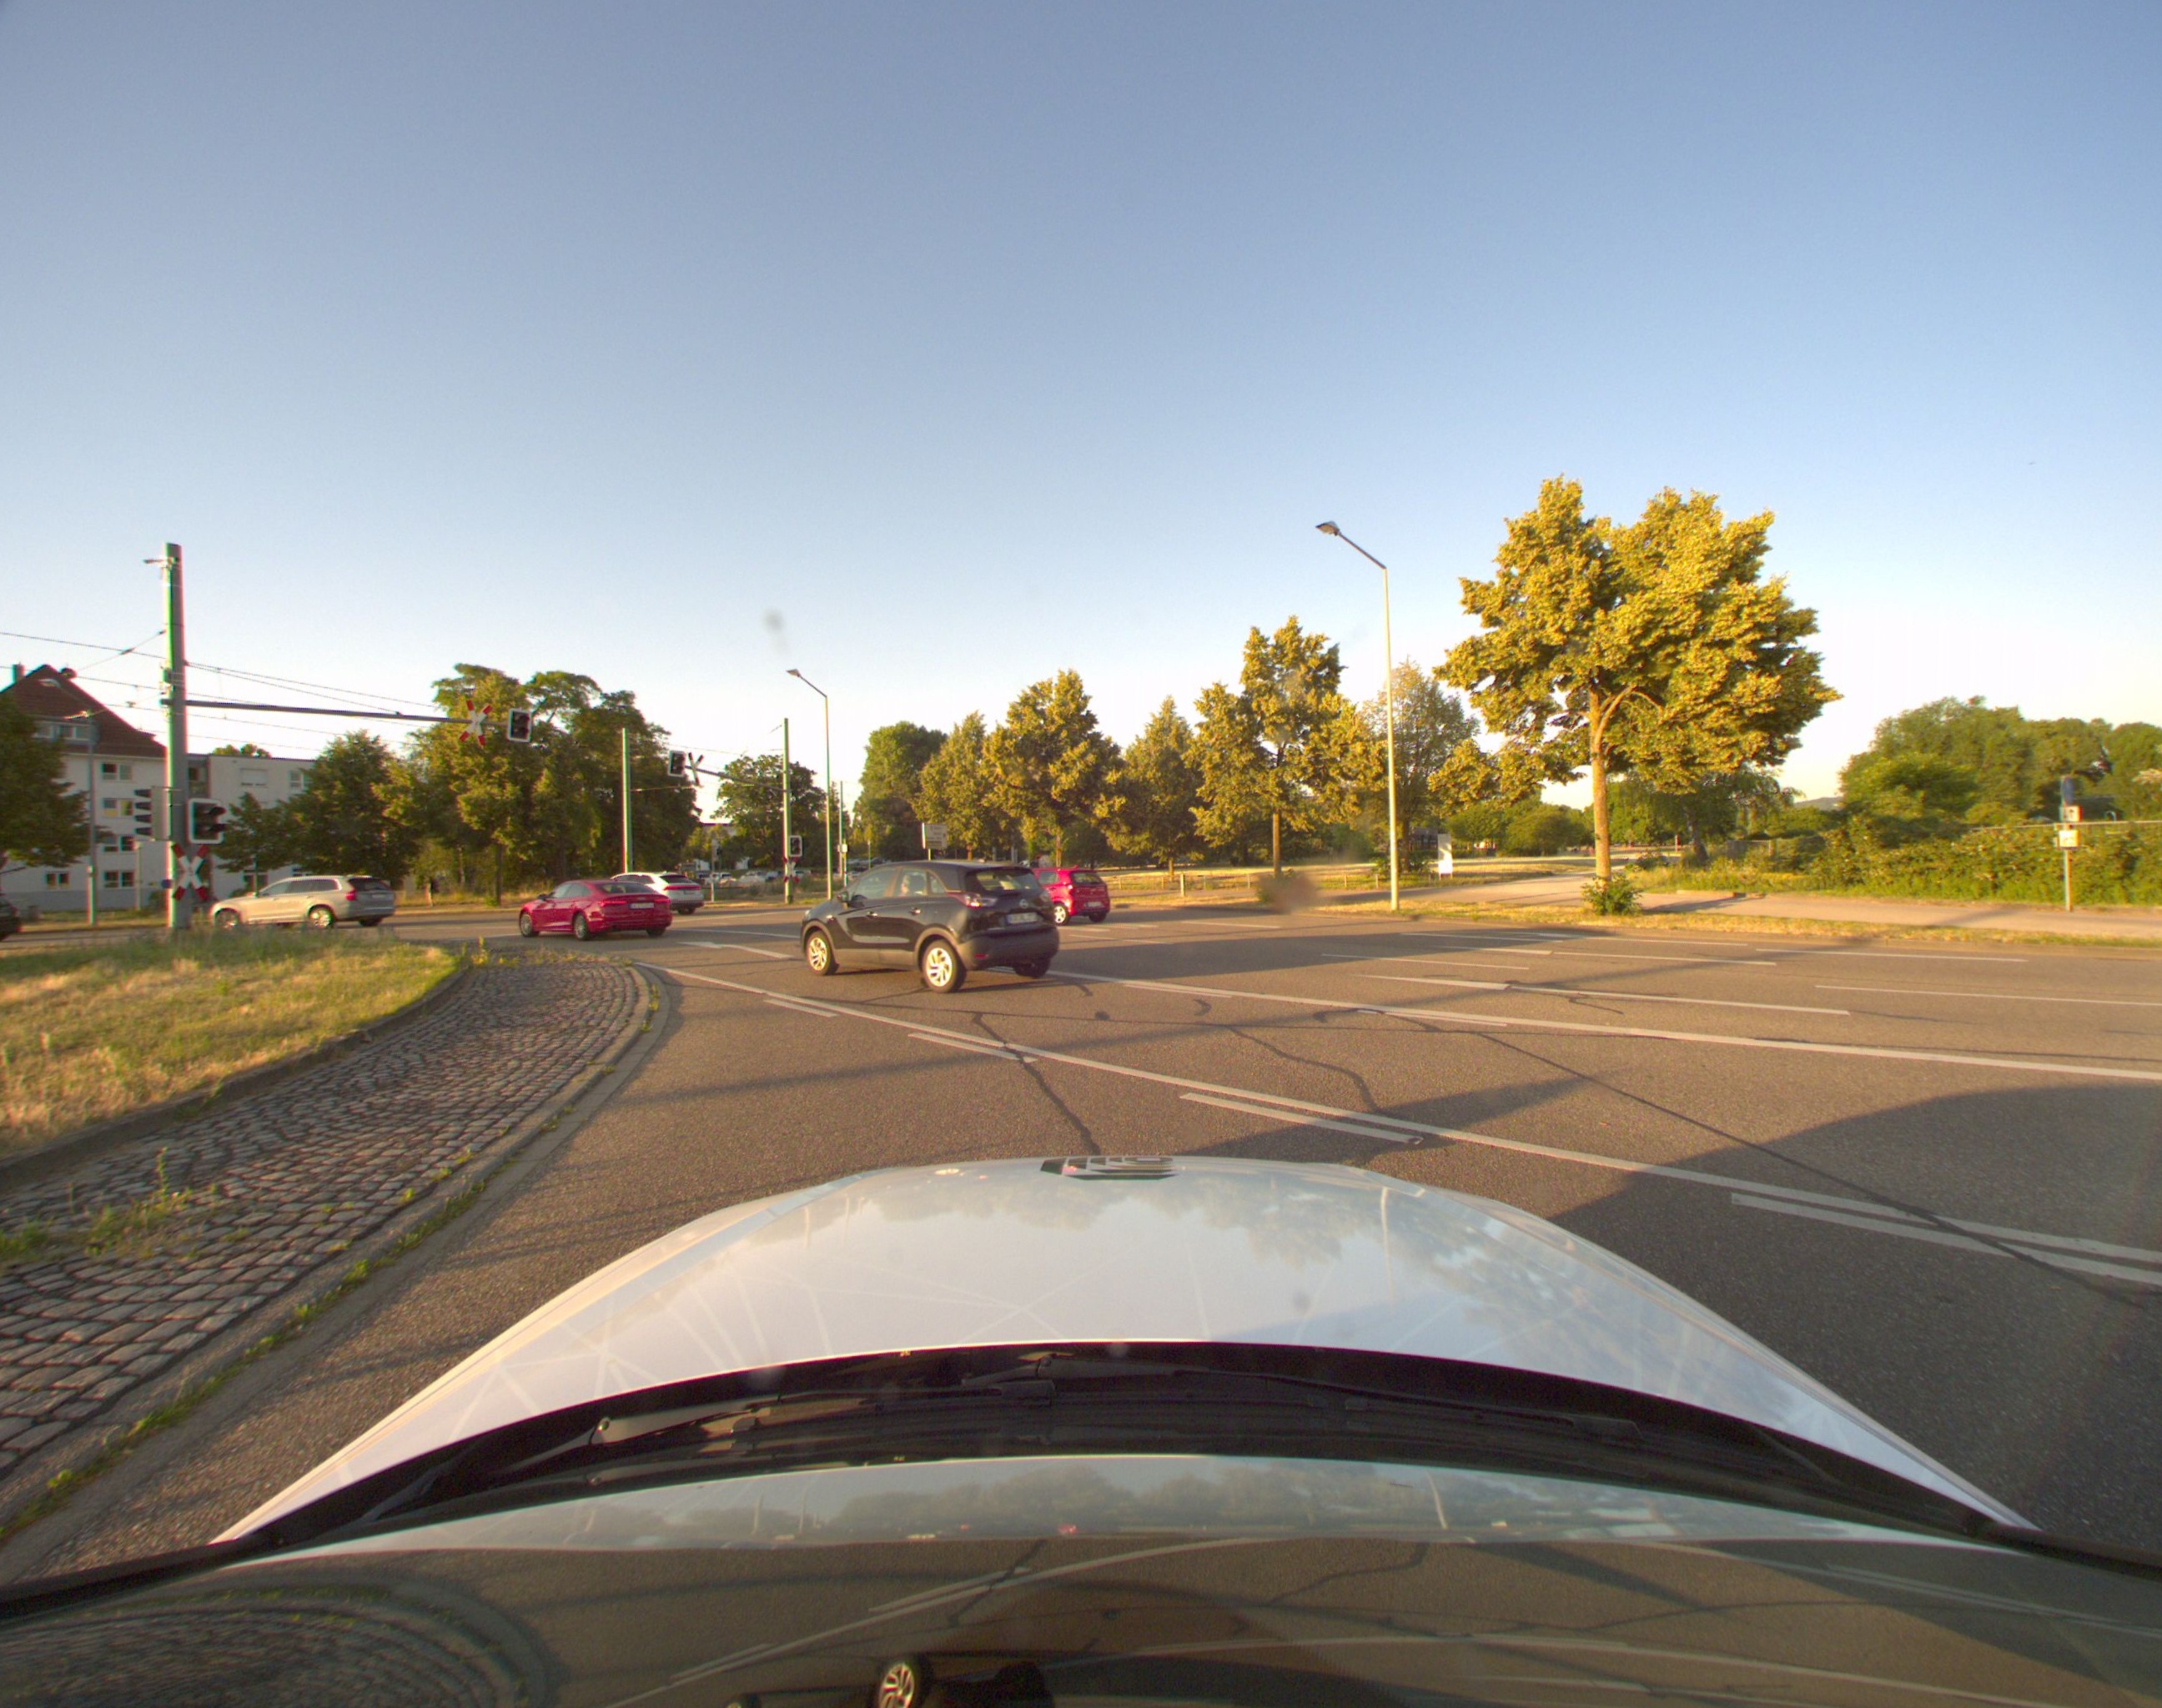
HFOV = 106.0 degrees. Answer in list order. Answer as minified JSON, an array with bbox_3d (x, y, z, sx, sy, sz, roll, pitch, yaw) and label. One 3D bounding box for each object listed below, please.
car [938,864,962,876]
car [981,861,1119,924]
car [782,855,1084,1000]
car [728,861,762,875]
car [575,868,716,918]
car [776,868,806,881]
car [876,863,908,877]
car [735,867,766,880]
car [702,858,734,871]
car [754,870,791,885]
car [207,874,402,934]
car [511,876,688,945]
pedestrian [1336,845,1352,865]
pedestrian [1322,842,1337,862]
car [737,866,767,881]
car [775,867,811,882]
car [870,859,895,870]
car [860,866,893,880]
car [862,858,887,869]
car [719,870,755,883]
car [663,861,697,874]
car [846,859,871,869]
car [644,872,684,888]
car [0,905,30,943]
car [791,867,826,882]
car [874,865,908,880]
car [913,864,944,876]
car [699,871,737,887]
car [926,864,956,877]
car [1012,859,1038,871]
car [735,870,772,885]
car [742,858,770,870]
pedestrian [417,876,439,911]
[{"bbox_3d":[-20.856,2.518,129.992,2.008,1.752,4.549,-1,1,-35],"label":"car"},{"bbox_3d":[-0.876,0.983,21.753,3.446,1.500,1.653,-2,0,42],"label":"car"},{"bbox_3d":[-2.110,0.860,11.072,3.948,1.584,1.907,-2,0,40],"label":"car"},{"bbox_3d":[-51.898,2.113,125.803,1.974,2.013,4.627,-2,0,32],"label":"car"},{"bbox_3d":[-16.351,1.468,30.610,4.661,1.706,2.010,-2,0,20],"label":"car"},{"bbox_3d":[-41.314,2.874,115.996,4.001,1.662,1.889,-2,0,-20],"label":"car"},{"bbox_3d":[-29.393,2.405,126.702,4.578,2.013,1.995,-2,0,-7],"label":"car"},{"bbox_3d":[-46.243,2.775,113.944,4.005,1.662,1.984,-2,0,-24],"label":"car"},{"bbox_3d":[-61.942,1.778,139.061,1.974,2.013,4.628,-2,0,36],"label":"car"},{"bbox_3d":[-35.519,2.701,93.673,3.948,1.604,2.013,-2,0,34],"label":"car"},{"bbox_3d":[-25.674,1.621,27.035,4.598,1.736,1.896,-2,0,0],"label":"car"},{"bbox_3d":[-11.458,1.264,19.288,4.439,1.392,1.908,-2,0,35],"label":"car"},{"bbox_3d":[22.062,0.087,68.377,1.064,1.617,0.911,-2,0,4],"label":"pedestrian"},{"bbox_3d":[20.894,-0.156,68.495,1.064,1.617,0.911,-2,0,4],"label":"pedestrian"},{"bbox_3d":[-47.431,2.757,117.439,4.006,2.013,1.984,-2,0,-24],"label":"car"},{"bbox_3d":[-33.711,2.441,95.432,3.948,1.604,2.013,-2,0,34],"label":"car"},{"bbox_3d":[-35.700,1.877,146.438,3.964,1.706,2.005,-2,0,8],"label":"car"},{"bbox_3d":[-26.684,2.475,105.990,3.948,1.604,2.013,-2,0,34],"label":"car"},{"bbox_3d":[-37.977,1.766,150.044,1.975,2.013,4.025,-2,0,42],"label":"car"},{"bbox_3d":[-46.127,3.006,109.145,1.878,1.662,4.026,-2,0,37],"label":"car"},{"bbox_3d":[-65.680,2.223,133.322,1.974,2.013,4.627,-2,0,32],"label":"car"},{"bbox_3d":[-41.766,1.875,153.022,1.974,1.816,4.026,-2,0,37],"label":"car"},{"bbox_3d":[-42.663,2.670,83.325,3.948,1.604,2.013,-2,0,34],"label":"car"},{"bbox_3d":[-35.383,2.246,24.655,4.006,1.104,1.676,-2,0,-25],"label":"car"},{"bbox_3d":[-32.647,2.451,97.612,3.948,1.604,2.013,-2,0,34],"label":"car"},{"bbox_3d":[-27.666,2.674,118.515,4.578,2.013,1.995,-2,0,-7],"label":"car"},{"bbox_3d":[-21.481,2.306,114.790,3.948,1.604,2.013,-2,0,34],"label":"car"},{"bbox_3d":[-39.032,2.677,87.543,3.948,1.604,2.013,-2,0,34],"label":"car"},{"bbox_3d":[-20.006,2.363,116.485,3.948,1.604,2.013,-2,0,34],"label":"car"},{"bbox_3d":[-7.969,1.514,115.267,1.748,1.618,3.954,-1,0,-39],"label":"car"},{"bbox_3d":[-37.063,2.700,92.063,3.948,1.604,2.013,-2,0,34],"label":"car"},{"bbox_3d":[-57.855,1.794,144.932,1.974,2.013,4.143,-2,0,36],"label":"car"},{"bbox_3d":[-35.974,2.186,44.871,0.666,1.893,0.619,0,-1,-4],"label":"pedestrian"}]
